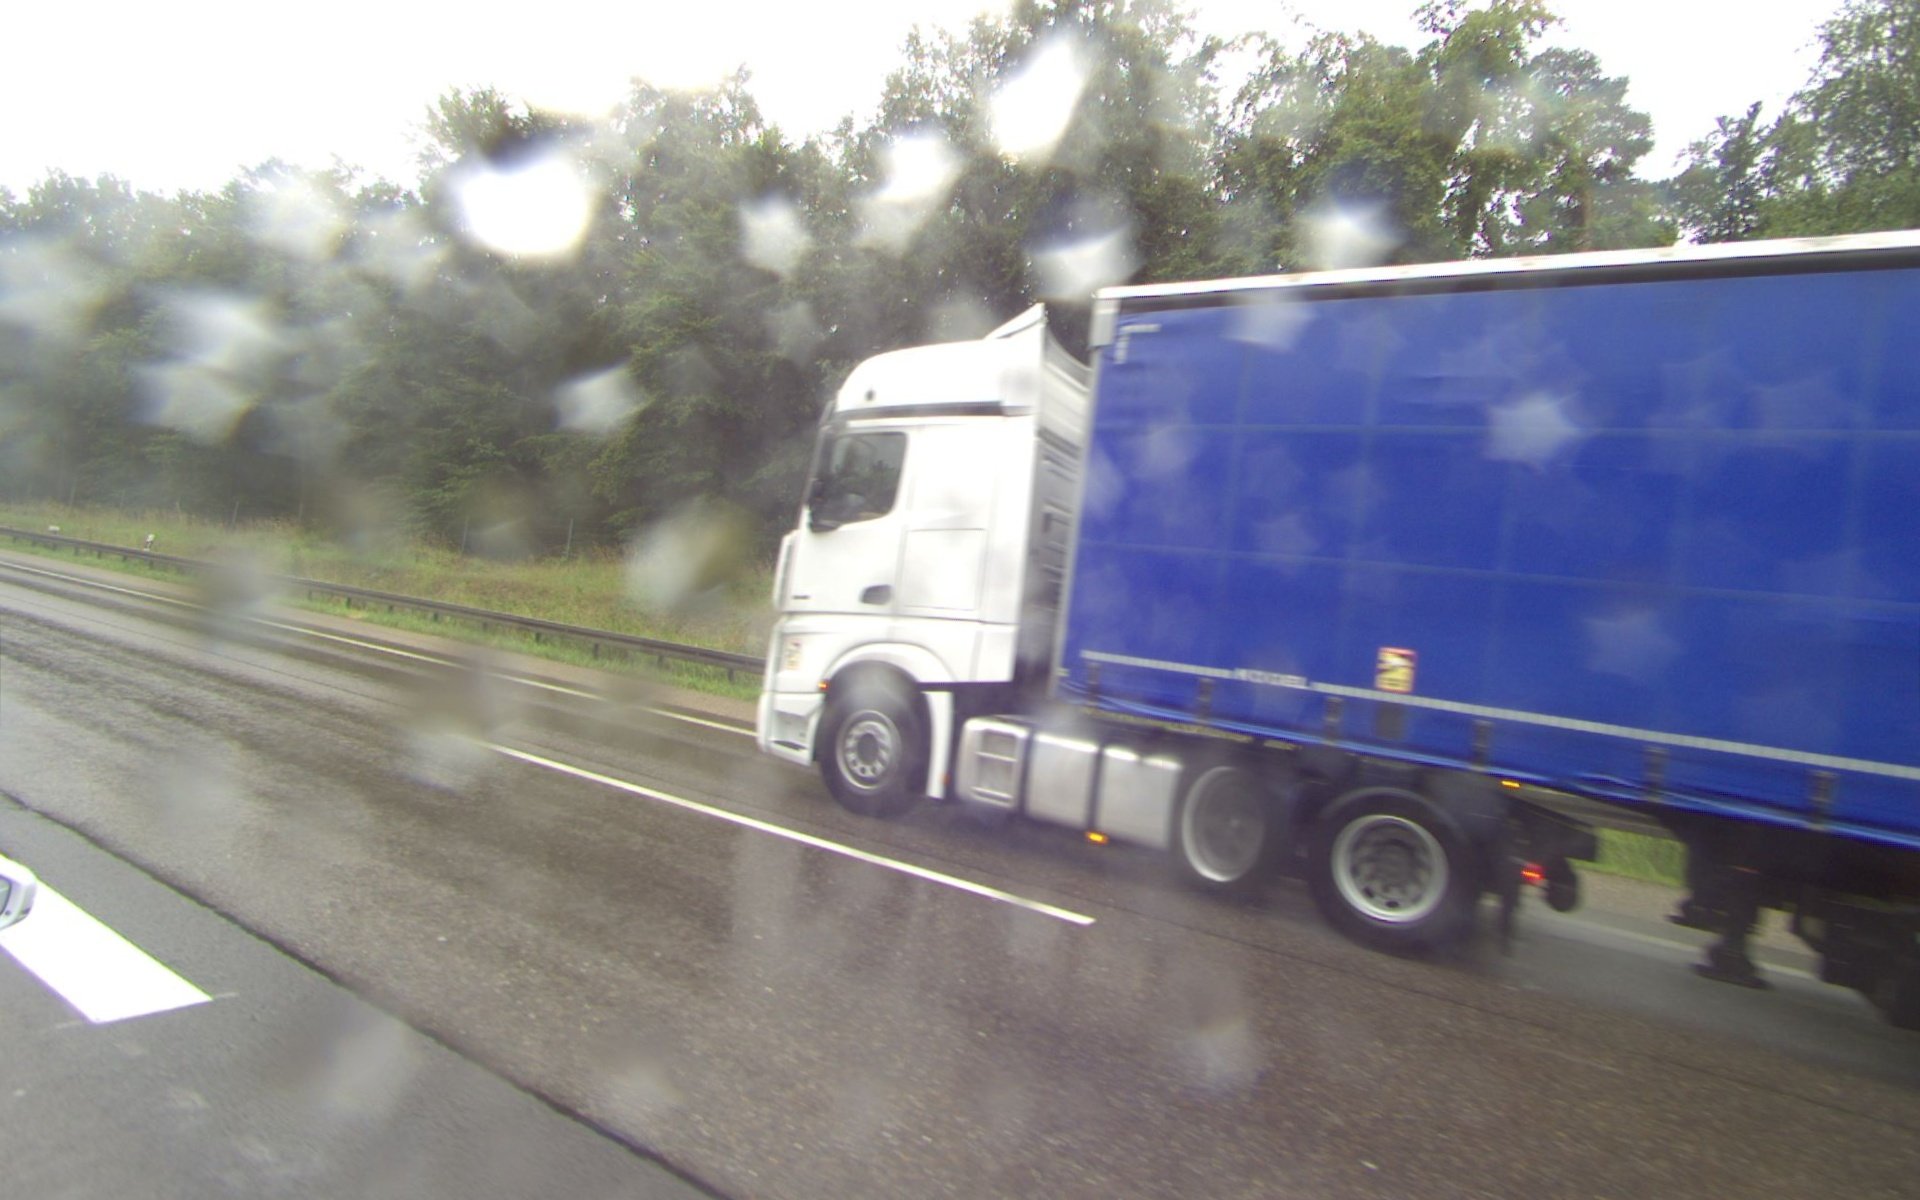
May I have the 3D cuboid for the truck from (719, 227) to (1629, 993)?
[{"bbox_3d":[1.432,-0.096,7.950,5.913,4.058,2.608,7,-2,32],"label":"truck"}]

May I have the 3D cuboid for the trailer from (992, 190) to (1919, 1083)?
[{"bbox_3d":[6.799,0.448,4.549,13.489,4.061,2.558,7,-1,32],"label":"trailer"}]
